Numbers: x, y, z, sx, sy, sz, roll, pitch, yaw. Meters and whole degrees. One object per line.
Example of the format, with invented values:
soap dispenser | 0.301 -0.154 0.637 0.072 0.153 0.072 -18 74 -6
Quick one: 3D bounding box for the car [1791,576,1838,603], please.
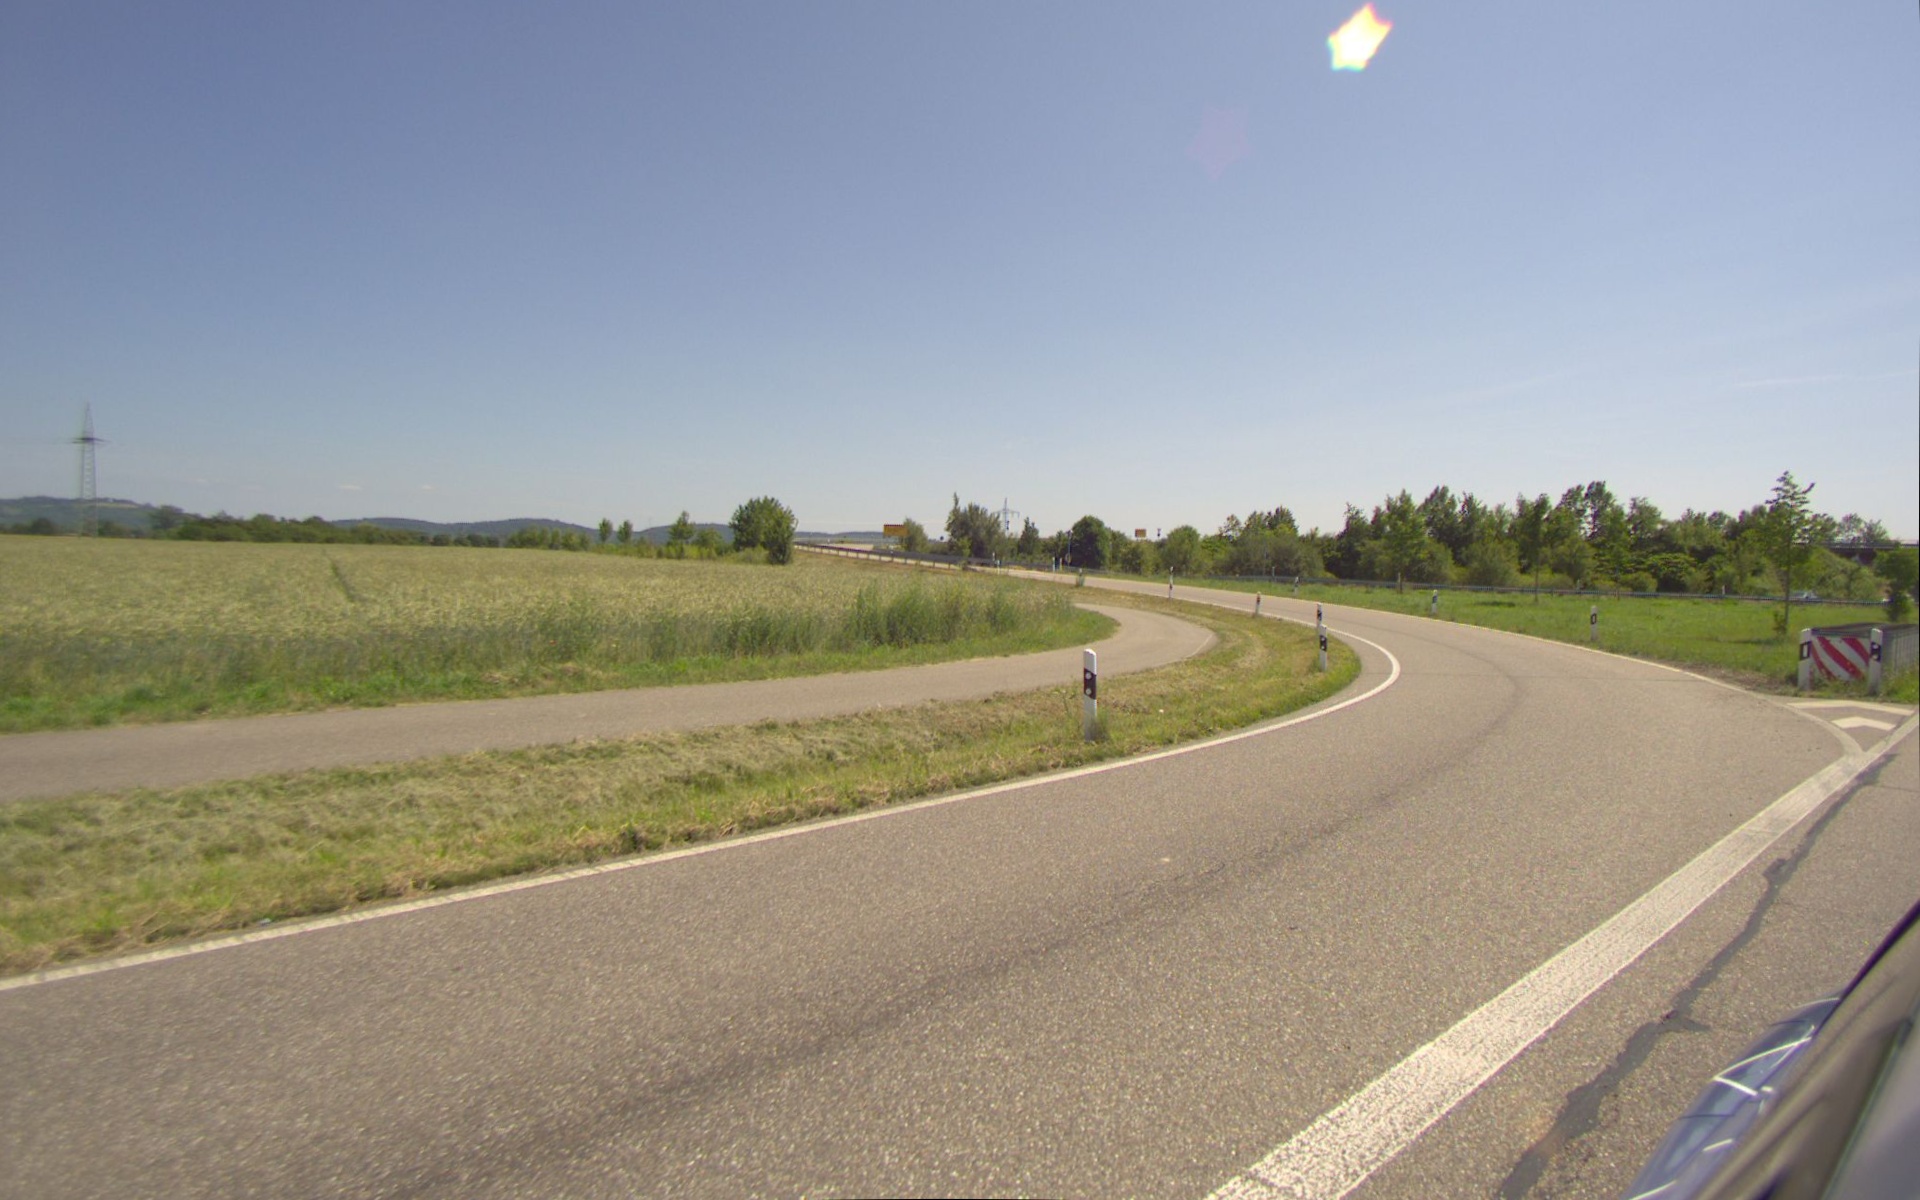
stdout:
car | 68.019 -0.817 80.552 3.648 2.038 1.798 0 3 -32
